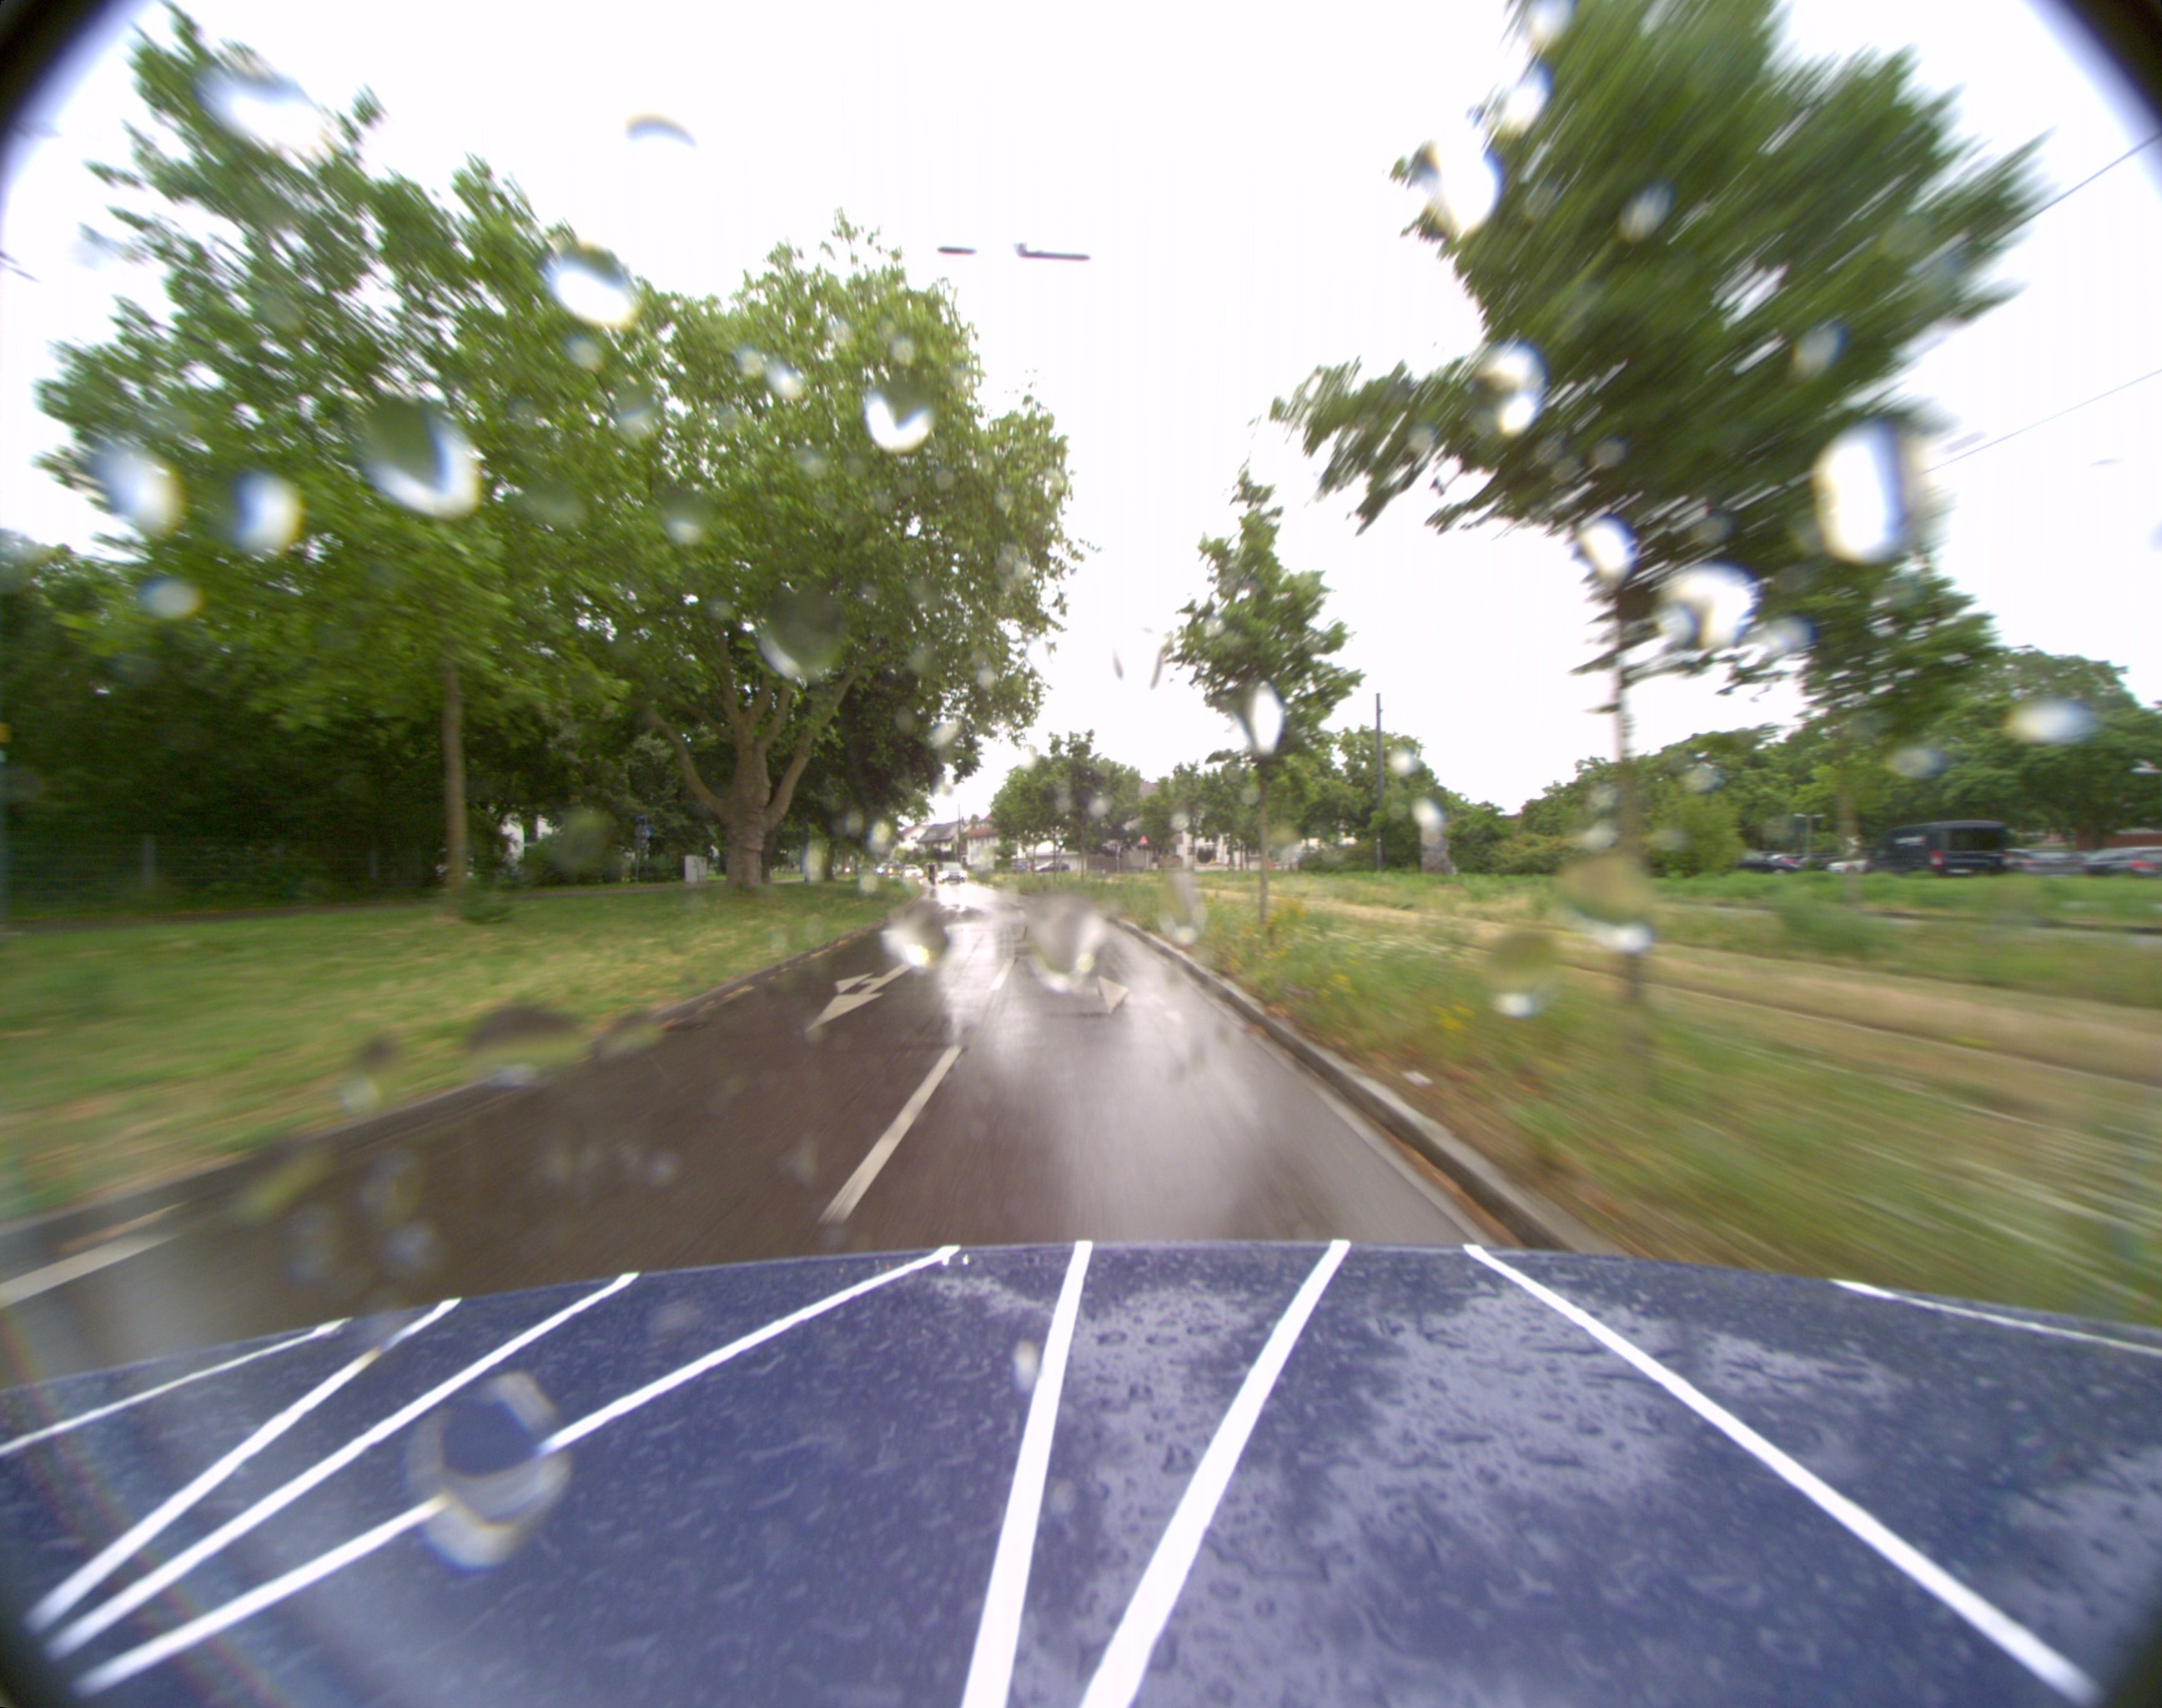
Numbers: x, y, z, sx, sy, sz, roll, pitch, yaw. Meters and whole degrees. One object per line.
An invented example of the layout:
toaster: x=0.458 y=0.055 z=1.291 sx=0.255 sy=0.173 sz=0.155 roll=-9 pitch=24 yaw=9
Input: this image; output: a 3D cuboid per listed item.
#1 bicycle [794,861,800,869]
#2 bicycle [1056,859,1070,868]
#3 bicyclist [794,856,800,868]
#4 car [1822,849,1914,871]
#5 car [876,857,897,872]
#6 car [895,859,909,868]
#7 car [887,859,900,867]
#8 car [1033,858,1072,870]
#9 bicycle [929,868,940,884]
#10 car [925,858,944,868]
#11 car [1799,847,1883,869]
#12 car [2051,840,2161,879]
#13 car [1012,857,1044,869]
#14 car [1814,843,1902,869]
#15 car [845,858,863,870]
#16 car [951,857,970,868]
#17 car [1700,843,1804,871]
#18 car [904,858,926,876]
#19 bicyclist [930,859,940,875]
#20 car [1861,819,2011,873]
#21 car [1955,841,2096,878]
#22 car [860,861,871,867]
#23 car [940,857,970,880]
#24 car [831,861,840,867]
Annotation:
bicycle: x=-42.085 y=1.620 z=112.749 sx=0.714 sy=1.136 sz=1.969 roll=-1 pitch=1 yaw=-17
bicycle: x=-2.258 y=1.186 z=93.692 sx=1.836 sy=1.013 sz=0.483 roll=-2 pitch=3 yaw=39
bicyclist: x=-42.087 y=1.147 z=112.724 sx=0.714 sy=1.711 sz=0.955 roll=-1 pitch=2 yaw=-17
car: x=53.901 y=0.404 z=52.125 sx=4.053 sy=1.426 sz=1.693 roll=-1 pitch=0 yaw=20
car: x=-24.522 y=1.301 z=95.766 sx=1.771 sy=1.715 sz=3.926 roll=0 pitch=0 yaw=-26
car: x=-36.352 y=1.862 z=154.178 sx=1.852 sy=1.696 sz=4.173 roll=-2 pitch=1 yaw=-28
car: x=-39.582 y=1.954 z=160.544 sx=1.721 sy=1.520 sz=3.593 roll=-4 pitch=1 yaw=-27
car: x=-3.696 y=1.277 z=98.967 sx=4.746 sy=1.357 sz=1.844 roll=-2 pitch=0 yaw=-24
bicycle: x=-9.516 y=1.426 z=49.499 sx=0.659 sy=1.008 sz=2.255 roll=0 pitch=0 yaw=-9
car: x=-25.686 y=1.570 z=133.006 sx=2.002 sy=1.604 sz=4.674 roll=-2 pitch=0 yaw=-26
car: x=56.390 y=0.296 z=56.469 sx=4.053 sy=1.564 sz=1.693 roll=-1 pitch=0 yaw=20
car: x=38.191 y=0.179 z=27.727 sx=1.832 sy=1.331 sz=4.105 roll=0 pitch=0 yaw=26
car: x=-7.464 y=1.287 z=106.359 sx=4.006 sy=1.567 sz=1.888 roll=-1 pitch=0 yaw=-27
car: x=55.441 y=0.140 z=54.320 sx=4.053 sy=1.811 sz=1.693 roll=-1 pitch=0 yaw=20
car: x=-33.732 y=1.474 z=112.631 sx=1.771 sy=1.715 sz=3.925 roll=0 pitch=0 yaw=-29
car: x=-19.212 y=1.361 z=120.989 sx=1.850 sy=1.538 sz=3.964 roll=-4 pitch=1 yaw=-26
car: x=36.909 y=0.171 z=41.913 sx=4.051 sy=1.426 sz=1.694 roll=-1 pitch=0 yaw=29
car: x=-16.924 y=1.341 z=77.505 sx=1.770 sy=1.715 sz=3.928 roll=-2 pitch=1 yaw=-18
bicyclist: x=-9.528 y=0.841 z=49.544 sx=0.622 sy=1.078 sz=0.624 roll=0 pitch=1 yaw=-9
car: x=33.268 y=-0.258 z=29.781 sx=2.032 sy=1.936 sz=4.723 roll=0 pitch=0 yaw=22
car: x=36.048 y=0.207 z=29.175 sx=1.832 sy=1.331 sz=4.105 roll=0 pitch=0 yaw=26
car: x=-52.861 y=2.446 z=186.237 sx=1.762 sy=1.507 sz=3.846 roll=-4 pitch=1 yaw=-27
car: x=-10.144 y=1.172 z=60.867 sx=1.770 sy=1.715 sz=3.929 roll=-3 pitch=0 yaw=-18
car: x=-69.586 y=2.745 z=215.478 sx=1.762 sy=1.507 sz=3.846 roll=-4 pitch=1 yaw=-27
